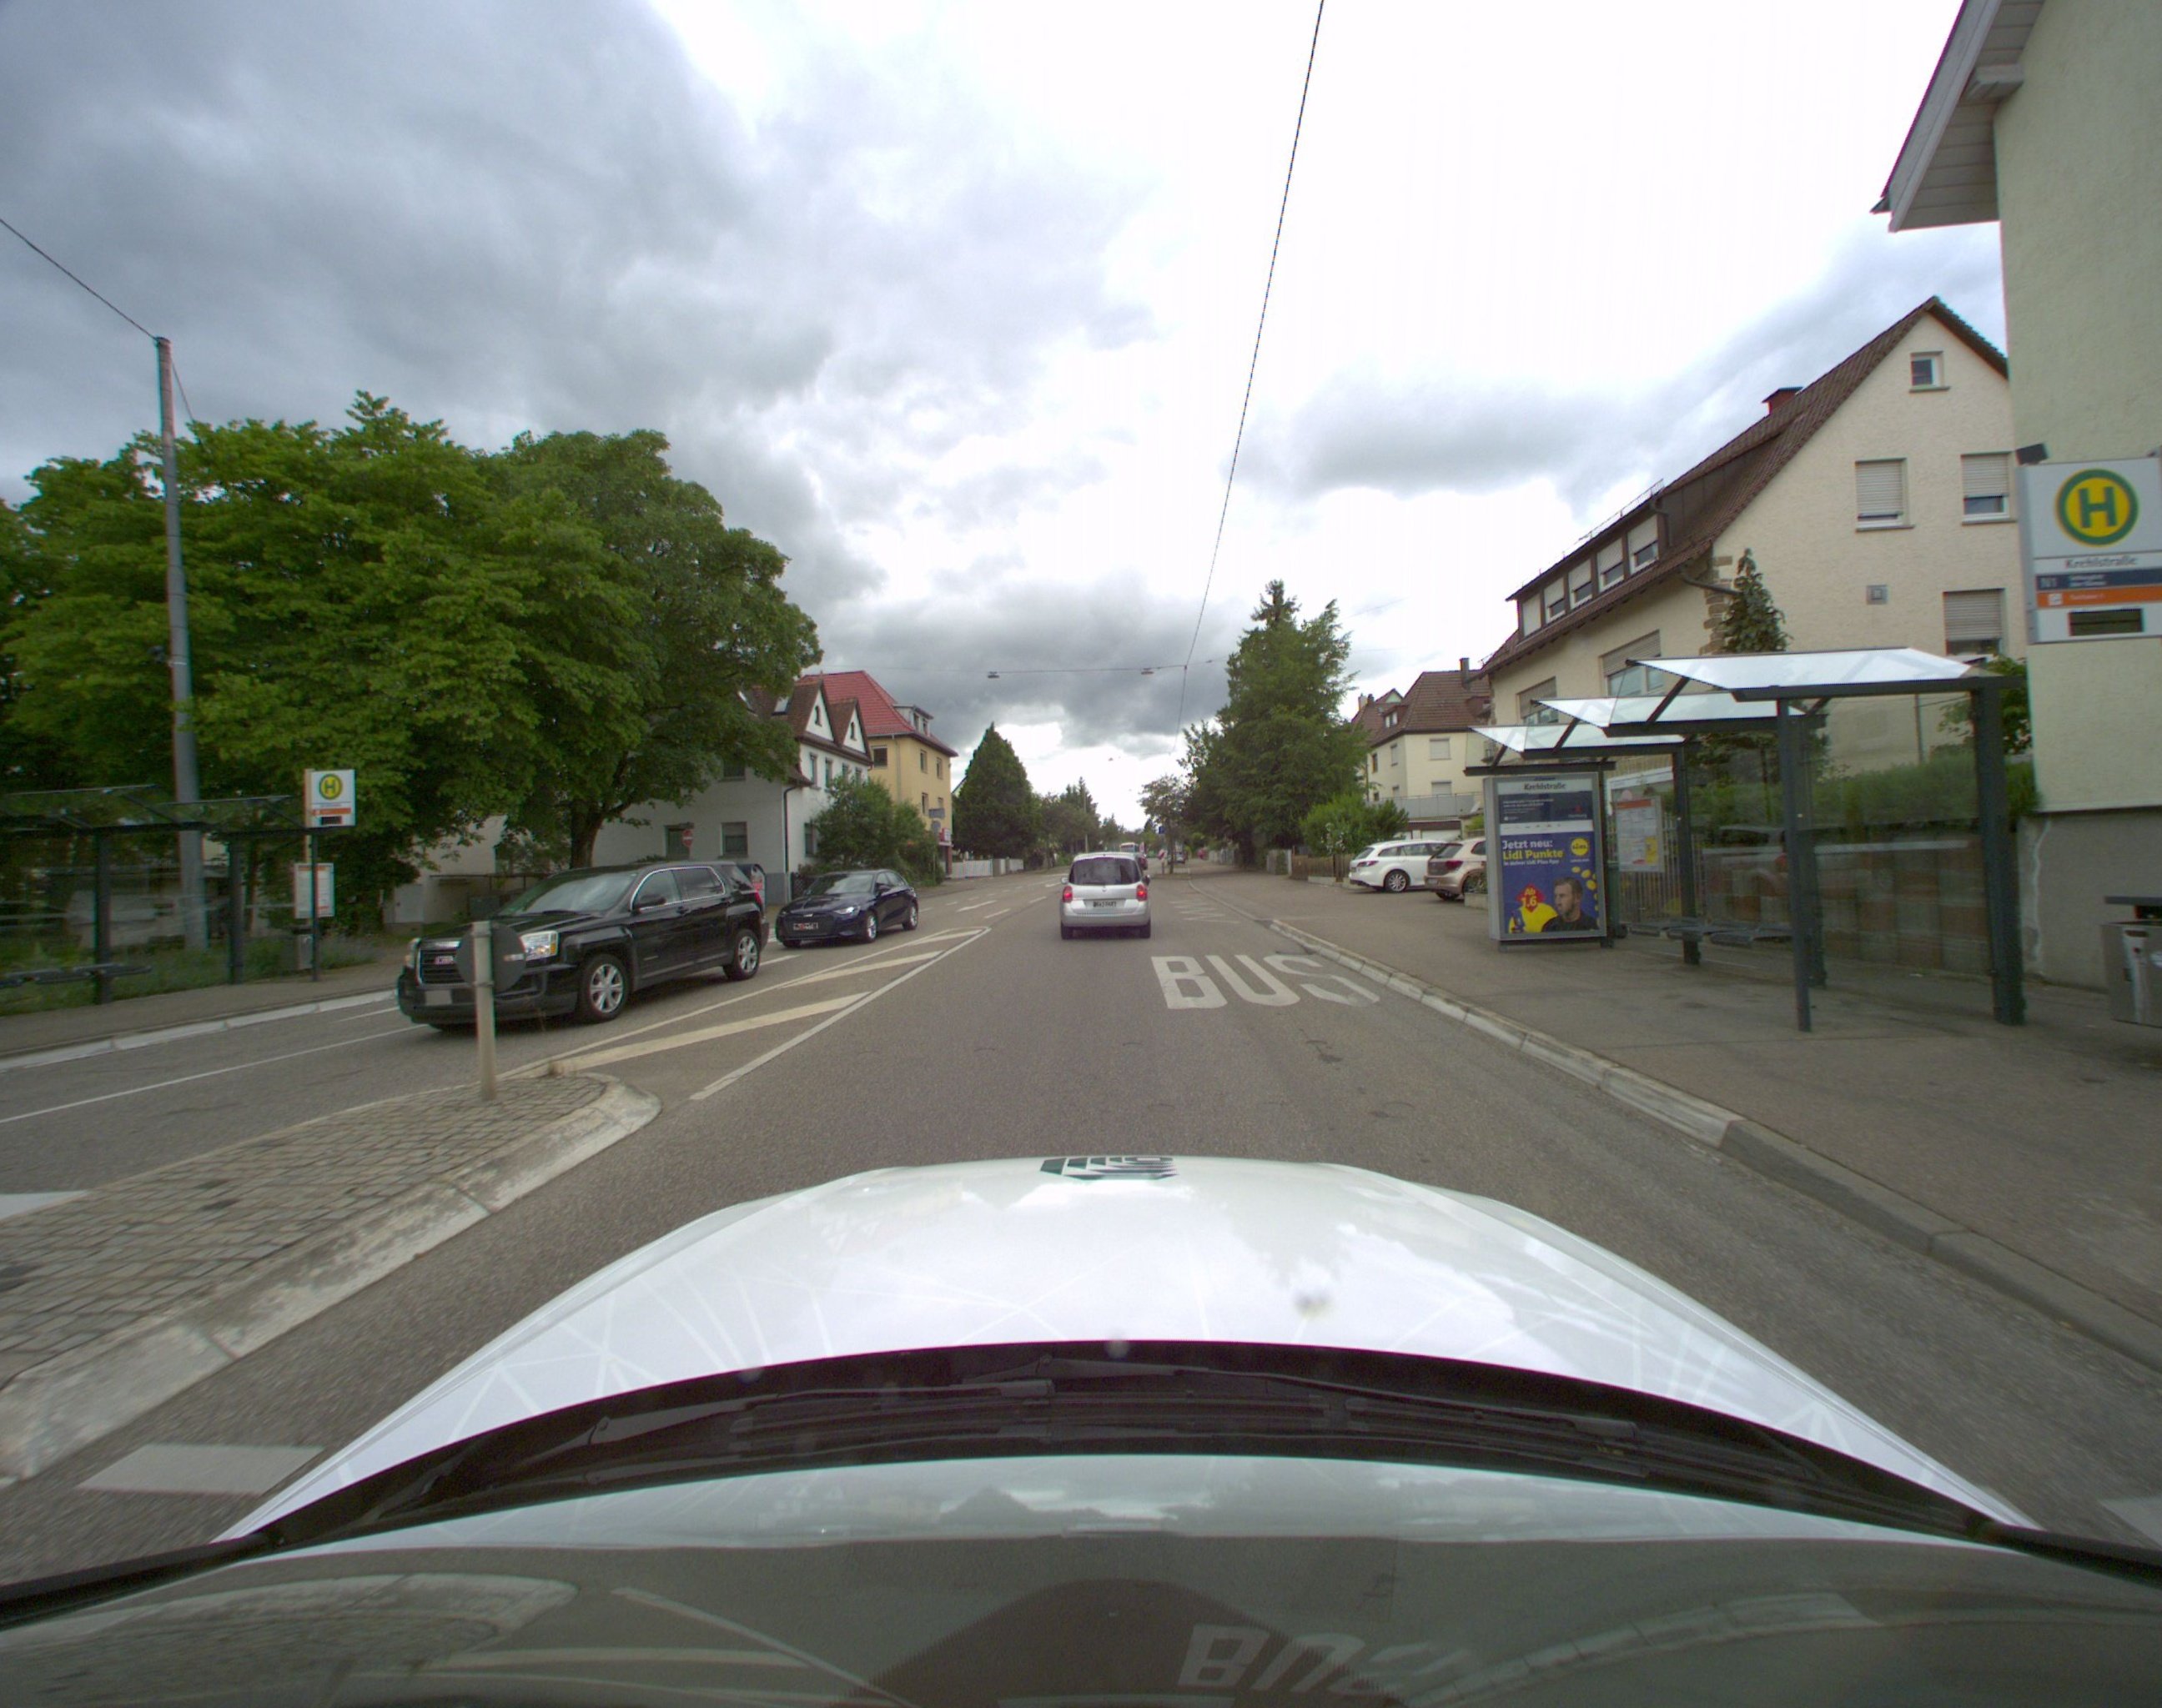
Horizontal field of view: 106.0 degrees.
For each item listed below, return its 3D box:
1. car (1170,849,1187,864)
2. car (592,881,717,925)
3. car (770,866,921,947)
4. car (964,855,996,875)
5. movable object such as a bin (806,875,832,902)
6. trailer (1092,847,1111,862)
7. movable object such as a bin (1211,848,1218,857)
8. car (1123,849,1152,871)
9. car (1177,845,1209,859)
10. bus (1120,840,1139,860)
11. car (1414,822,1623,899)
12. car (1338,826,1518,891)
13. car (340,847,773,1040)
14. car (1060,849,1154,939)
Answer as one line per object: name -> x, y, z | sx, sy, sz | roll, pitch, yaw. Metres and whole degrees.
car -> 9.739, 0.305, 81.158 | 1.641, 1.382, 4.008 | -2, -1, 7
car -> -16.820, 1.912, 32.206 | 3.969, 1.332, 1.724 | -5, -1, 4
car -> -4.723, 0.995, 16.981 | 1.556, 1.420, 4.136 | -3, -1, 5
car -> -8.749, 0.937, 70.764 | 1.799, 1.564, 4.622 | -5, 0, 3
movable object such as a bin -> -10.765, 1.401, 33.408 | 0.711, 1.019, 0.727 | 1, 2, 38
trailer -> 3.083, 0.088, 120.681 | 2.301, 2.087, 5.881 | -1, -1, 5
movable object such as a bin -> 16.002, -0.167, 97.573 | 0.772, 1.104, 0.692 | -3, 0, 6
car -> 4.584, 0.457, 65.676 | 1.817, 1.675, 3.585 | -3, -1, 11
car -> 15.572, -0.240, 113.162 | 3.977, 1.496, 1.809 | -6, 0, -2
bus -> 8.174, -0.669, 136.122 | 2.619, 3.086, 12.088 | -4, 0, 5
car -> 9.877, 0.155, 18.586 | 3.790, 1.402, 1.641 | -4, -1, 0
car -> 10.028, 0.149, 23.805 | 4.399, 1.488, 1.867 | -4, -1, 5
car -> -5.677, 0.861, 9.714 | 1.749, 1.635, 4.602 | -5, -1, 6
car -> 0.517, 0.733, 16.307 | 1.624, 1.557, 4.001 | -1, -1, 2
